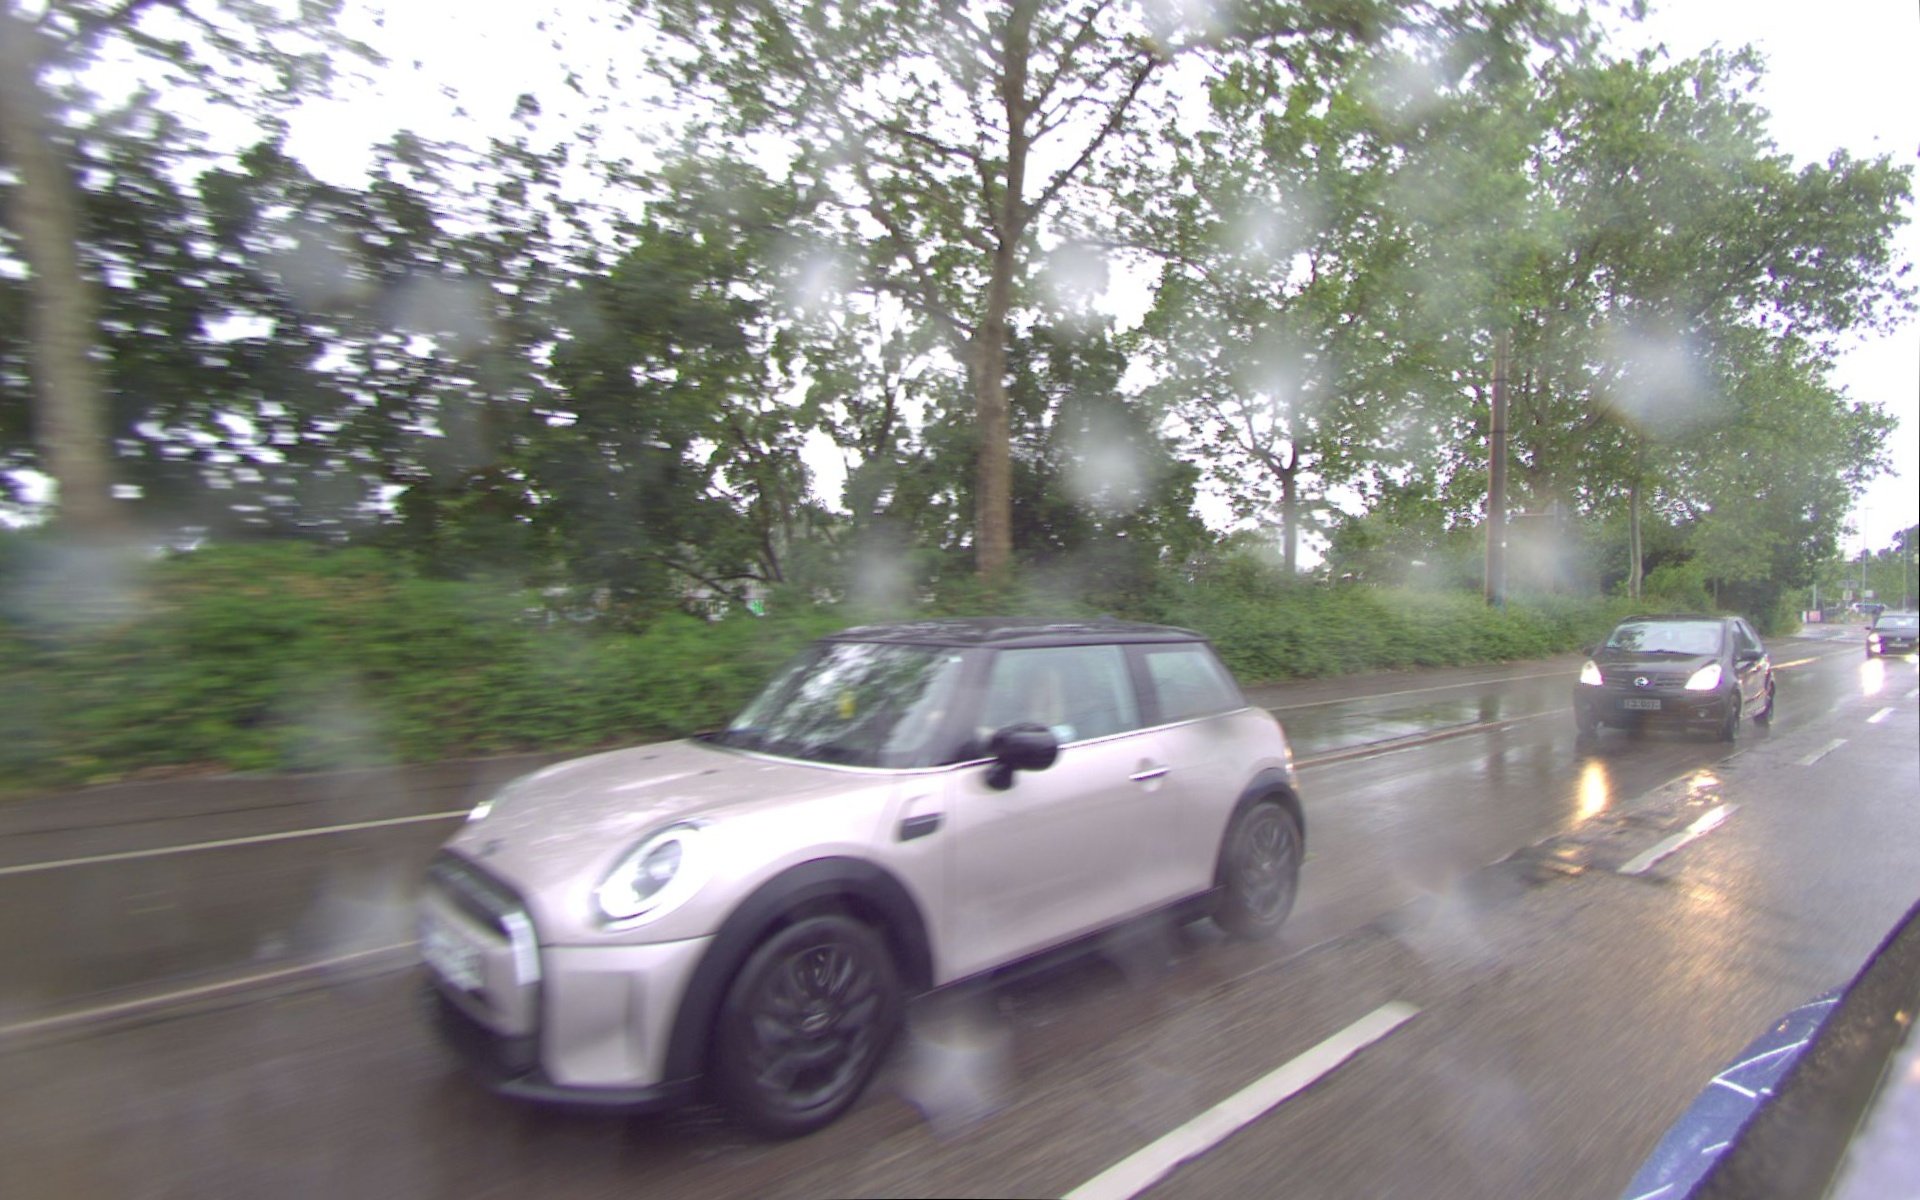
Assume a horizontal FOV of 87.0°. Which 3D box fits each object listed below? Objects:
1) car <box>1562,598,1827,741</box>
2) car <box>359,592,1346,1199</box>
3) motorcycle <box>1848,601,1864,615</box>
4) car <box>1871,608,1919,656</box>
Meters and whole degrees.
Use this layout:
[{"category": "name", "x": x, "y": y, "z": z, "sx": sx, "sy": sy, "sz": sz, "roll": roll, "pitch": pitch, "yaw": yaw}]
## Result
[{"category": "car", "x": 9.160, "y": 0.768, "z": 12.513, "sx": 4.020, "sy": 1.480, "sz": 1.774, "roll": 1, "pitch": -2, "yaw": -41}, {"category": "car", "x": -0.157, "y": 0.740, "z": 4.255, "sx": 3.789, "sy": 1.432, "sz": 1.793, "roll": -1, "pitch": -1, "yaw": -43}, {"category": "motorcycle", "x": 85.414, "y": 0.758, "z": 96.461, "sx": 1.418, "sy": 1.234, "sz": 0.635, "roll": 1, "pitch": 1, "yaw": -30}, {"category": "car", "x": 31.521, "y": 1.041, "z": 33.387, "sx": 3.972, "sy": 1.504, "sz": 1.713, "roll": 1, "pitch": -2, "yaw": -41}]
